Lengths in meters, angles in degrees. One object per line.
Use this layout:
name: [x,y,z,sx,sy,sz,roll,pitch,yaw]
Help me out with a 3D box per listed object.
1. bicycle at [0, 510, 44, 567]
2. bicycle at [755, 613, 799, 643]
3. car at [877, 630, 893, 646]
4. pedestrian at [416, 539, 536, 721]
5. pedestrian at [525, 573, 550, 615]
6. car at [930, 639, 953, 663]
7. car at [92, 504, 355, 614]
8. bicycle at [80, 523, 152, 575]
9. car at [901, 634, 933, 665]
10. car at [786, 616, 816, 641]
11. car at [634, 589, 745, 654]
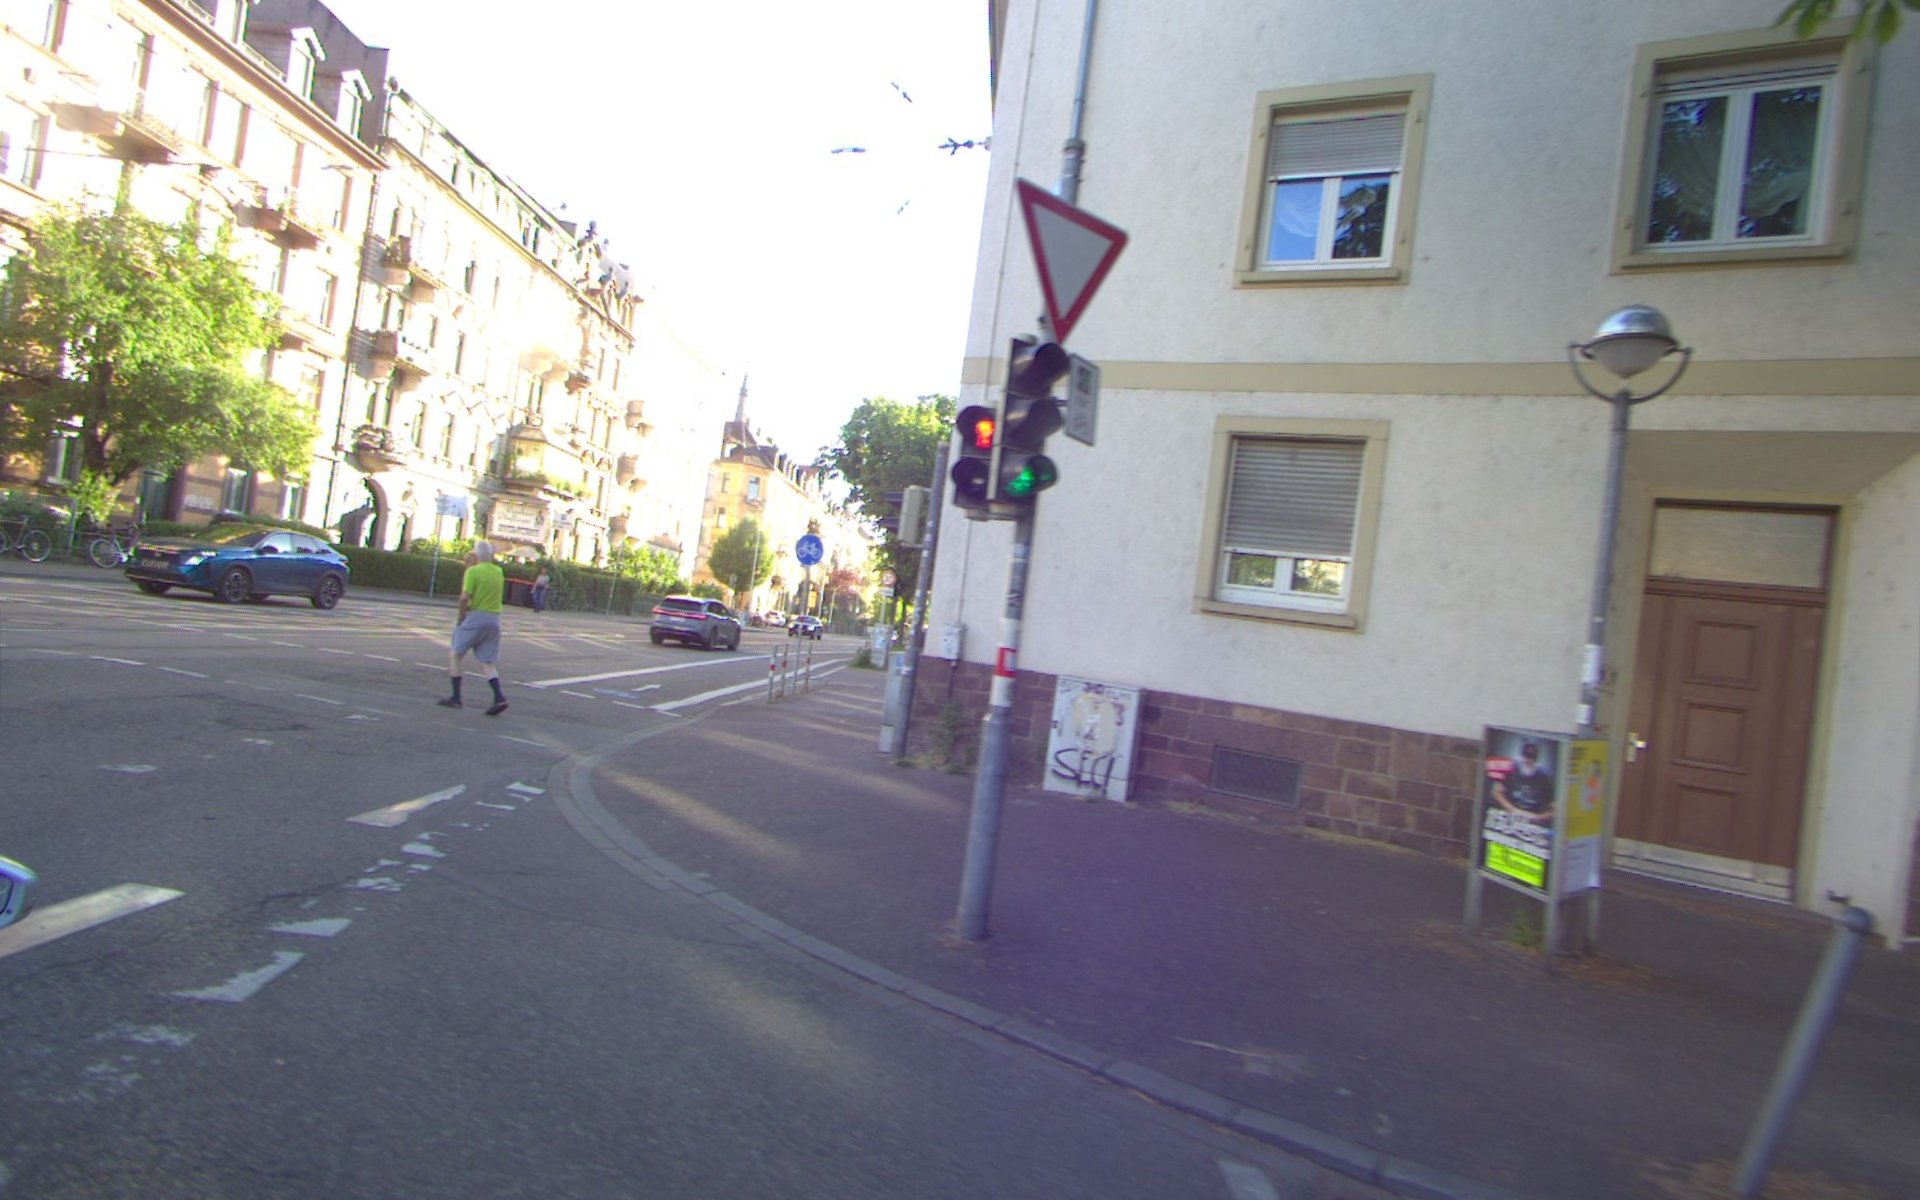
bicycle: [-20.557,-1.361,21.564,0.435,1.120,1.235,8,-1,9]
bicycle: [-15.161,2.340,83.400,3.188,2.041,0.931,8,0,-3]
car: [-9.072,4.599,121.735,1.571,1.629,3.603,8,-2,-1]
pedestrian: [-5.118,0.306,10.623,0.642,1.746,0.878,12,-2,-42]
pedestrian: [-17.268,-0.243,41.126,0.516,1.660,0.496,7,-1,14]
car: [-1.422,3.924,77.549,1.571,1.555,3.894,8,-2,0]
car: [-15.171,-0.742,21.097,1.912,1.668,4.415,8,-2,3]
bicycle: [-20.251,-1.214,24.153,0.435,1.050,1.235,9,-2,8]
car: [-2.409,2.794,56.734,1.525,1.456,3.839,8,-2,0]
car: [-11.110,2.017,70.569,1.509,1.541,3.477,8,-2,-3]
car: [-8.185,0.698,30.946,1.940,1.603,4.478,8,-2,1]
